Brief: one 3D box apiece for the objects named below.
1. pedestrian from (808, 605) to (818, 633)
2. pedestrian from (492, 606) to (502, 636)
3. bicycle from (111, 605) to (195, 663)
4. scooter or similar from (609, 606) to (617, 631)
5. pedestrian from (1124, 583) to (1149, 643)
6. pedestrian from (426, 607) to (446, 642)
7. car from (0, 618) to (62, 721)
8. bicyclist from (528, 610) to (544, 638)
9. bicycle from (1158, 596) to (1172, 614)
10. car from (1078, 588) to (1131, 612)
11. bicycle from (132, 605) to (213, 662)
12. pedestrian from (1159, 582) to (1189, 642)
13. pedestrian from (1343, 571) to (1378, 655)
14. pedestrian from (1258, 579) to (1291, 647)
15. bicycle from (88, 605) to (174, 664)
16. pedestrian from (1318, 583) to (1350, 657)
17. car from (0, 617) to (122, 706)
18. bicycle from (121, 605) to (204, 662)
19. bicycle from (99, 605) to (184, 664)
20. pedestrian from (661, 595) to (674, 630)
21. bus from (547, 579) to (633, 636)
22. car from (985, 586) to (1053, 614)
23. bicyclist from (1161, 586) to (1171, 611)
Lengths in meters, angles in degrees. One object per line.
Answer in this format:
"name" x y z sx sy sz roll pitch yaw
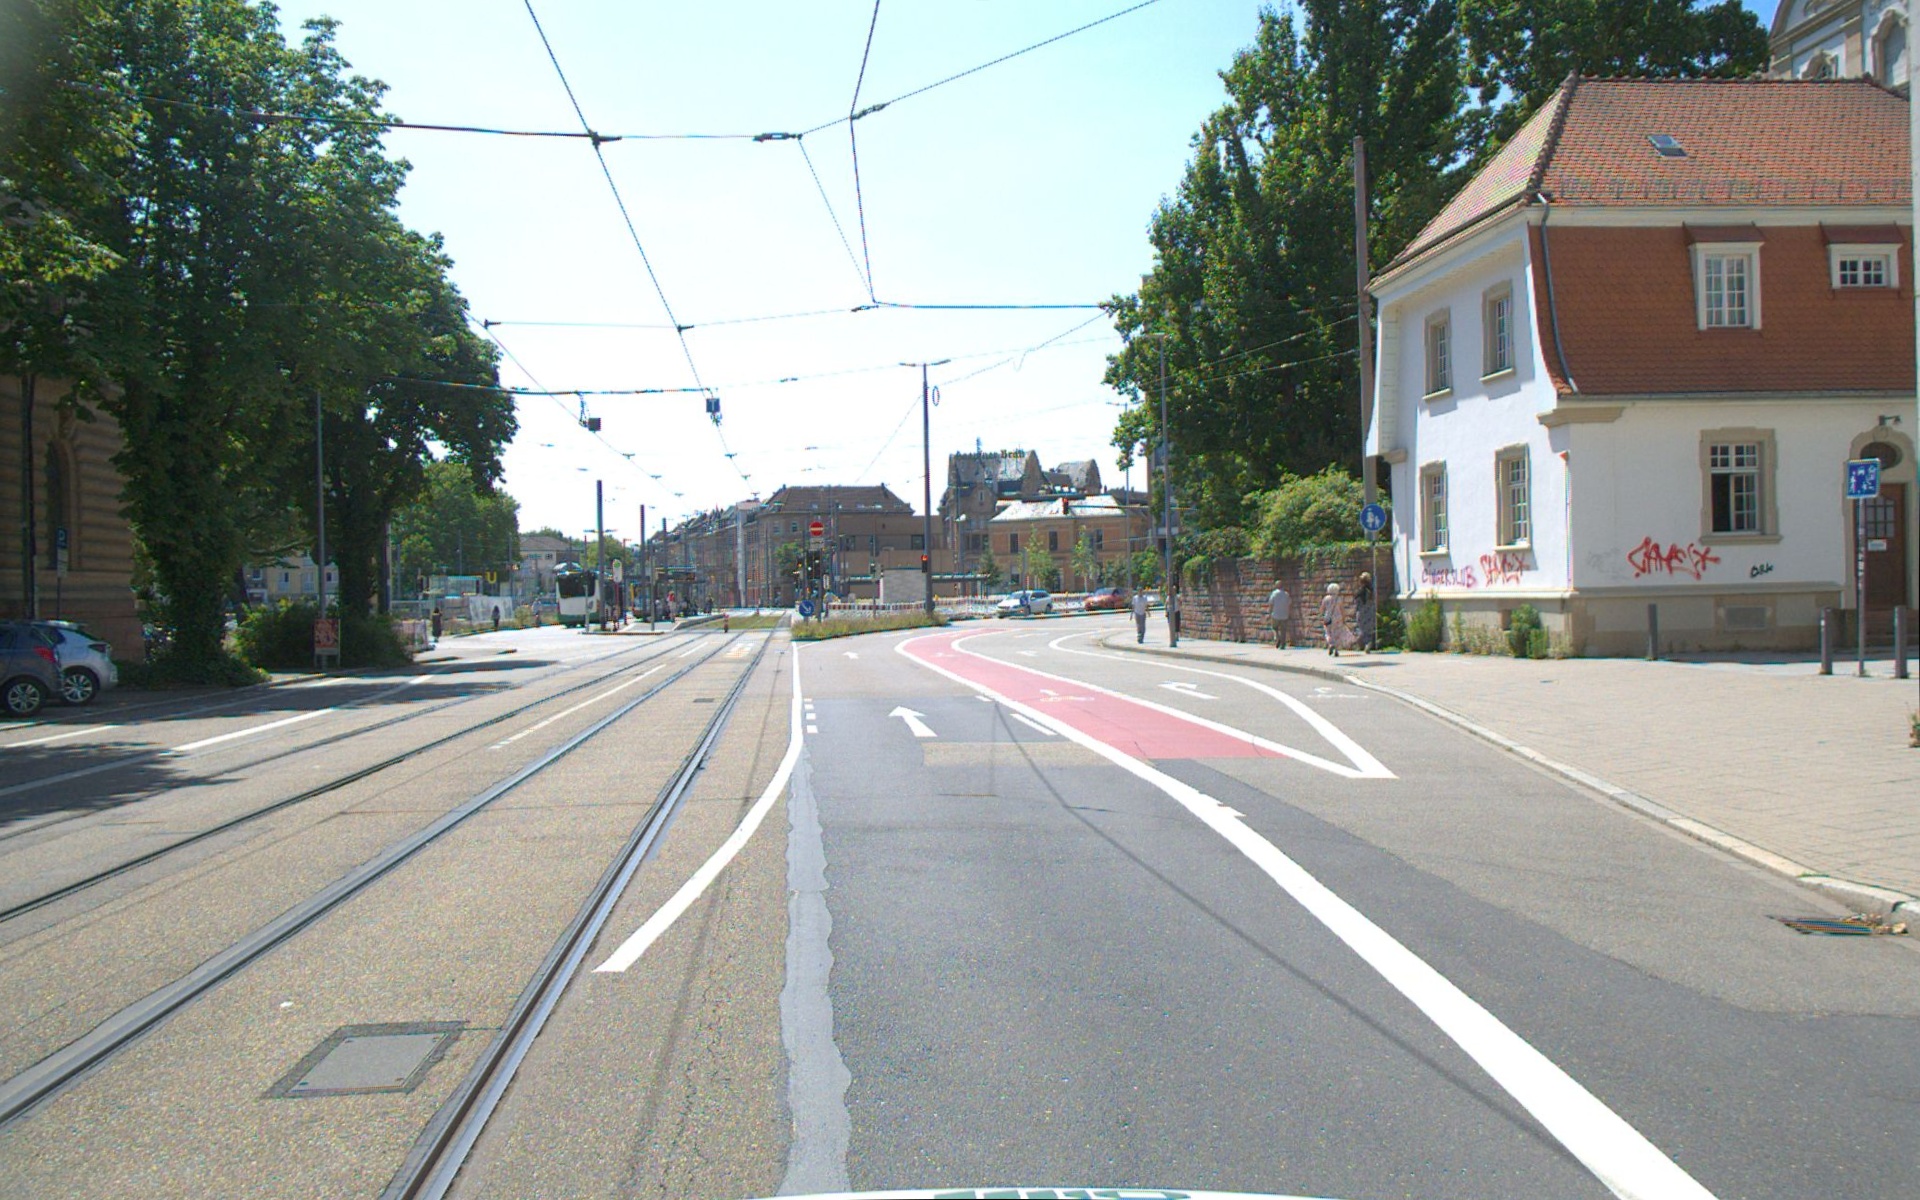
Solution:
"pedestrian" -8.819 1.135 99.333 0.517 1.704 0.749 0 -1 -13
"pedestrian" -26.985 1.237 96.401 0.556 1.735 0.396 -1 0 -13
"bicycle" -24.588 1.037 50.401 2.273 1.722 0.552 -1 -1 0
"scooter or similar" -16.899 0.889 80.532 0.313 1.227 1.245 -1 0 -10
"pedestrian" 5.512 0.413 51.646 0.663 1.839 0.748 -1 0 -2
"pedestrian" -25.059 1.161 79.114 0.593 1.630 0.826 -1 0 4
"car" -15.669 1.039 24.904 3.633 1.546 1.649 1 -1 -34
"bicyclist" -26.412 1.474 103.037 0.805 1.739 0.769 -1 0 -8
"bicycle" 14.835 0.377 119.414 0.390 1.195 1.768 -2 -3 27
"car" 9.064 -0.012 103.775 1.699 1.450 4.115 -2 -1 30
"bicycle" -24.577 1.041 51.626 2.273 1.722 0.552 -1 -1 0
"pedestrian" 6.715 0.374 51.924 0.797 1.839 0.700 -1 0 -2
"pedestrian" 8.710 0.288 35.959 0.614 1.804 0.719 0 -1 3
"pedestrian" 7.825 0.317 41.146 0.647 1.676 0.624 -1 0 -1
"bicycle" -24.642 1.031 49.166 2.273 1.722 0.552 -1 -1 0
"pedestrian" 8.037 0.427 35.582 0.505 1.559 0.597 -1 0 -1
"car" -16.172 1.029 27.872 3.507 1.430 1.682 0 -1 -35
"bicycle" -24.590 1.027 51.021 2.273 1.722 0.552 -1 -1 0
"bicycle" -24.631 1.034 49.798 2.273 1.722 0.552 -1 -1 0
"pedestrian" -16.447 0.720 93.019 0.661 1.943 0.638 -1 0 -16
"bus" -23.094 0.430 104.190 2.952 3.213 17.478 -1 0 -5
"car" 3.384 0.007 93.663 1.956 1.463 4.698 -2 -1 29
"bicyclist" 14.865 -0.126 119.478 0.556 1.749 0.506 -2 -3 28
